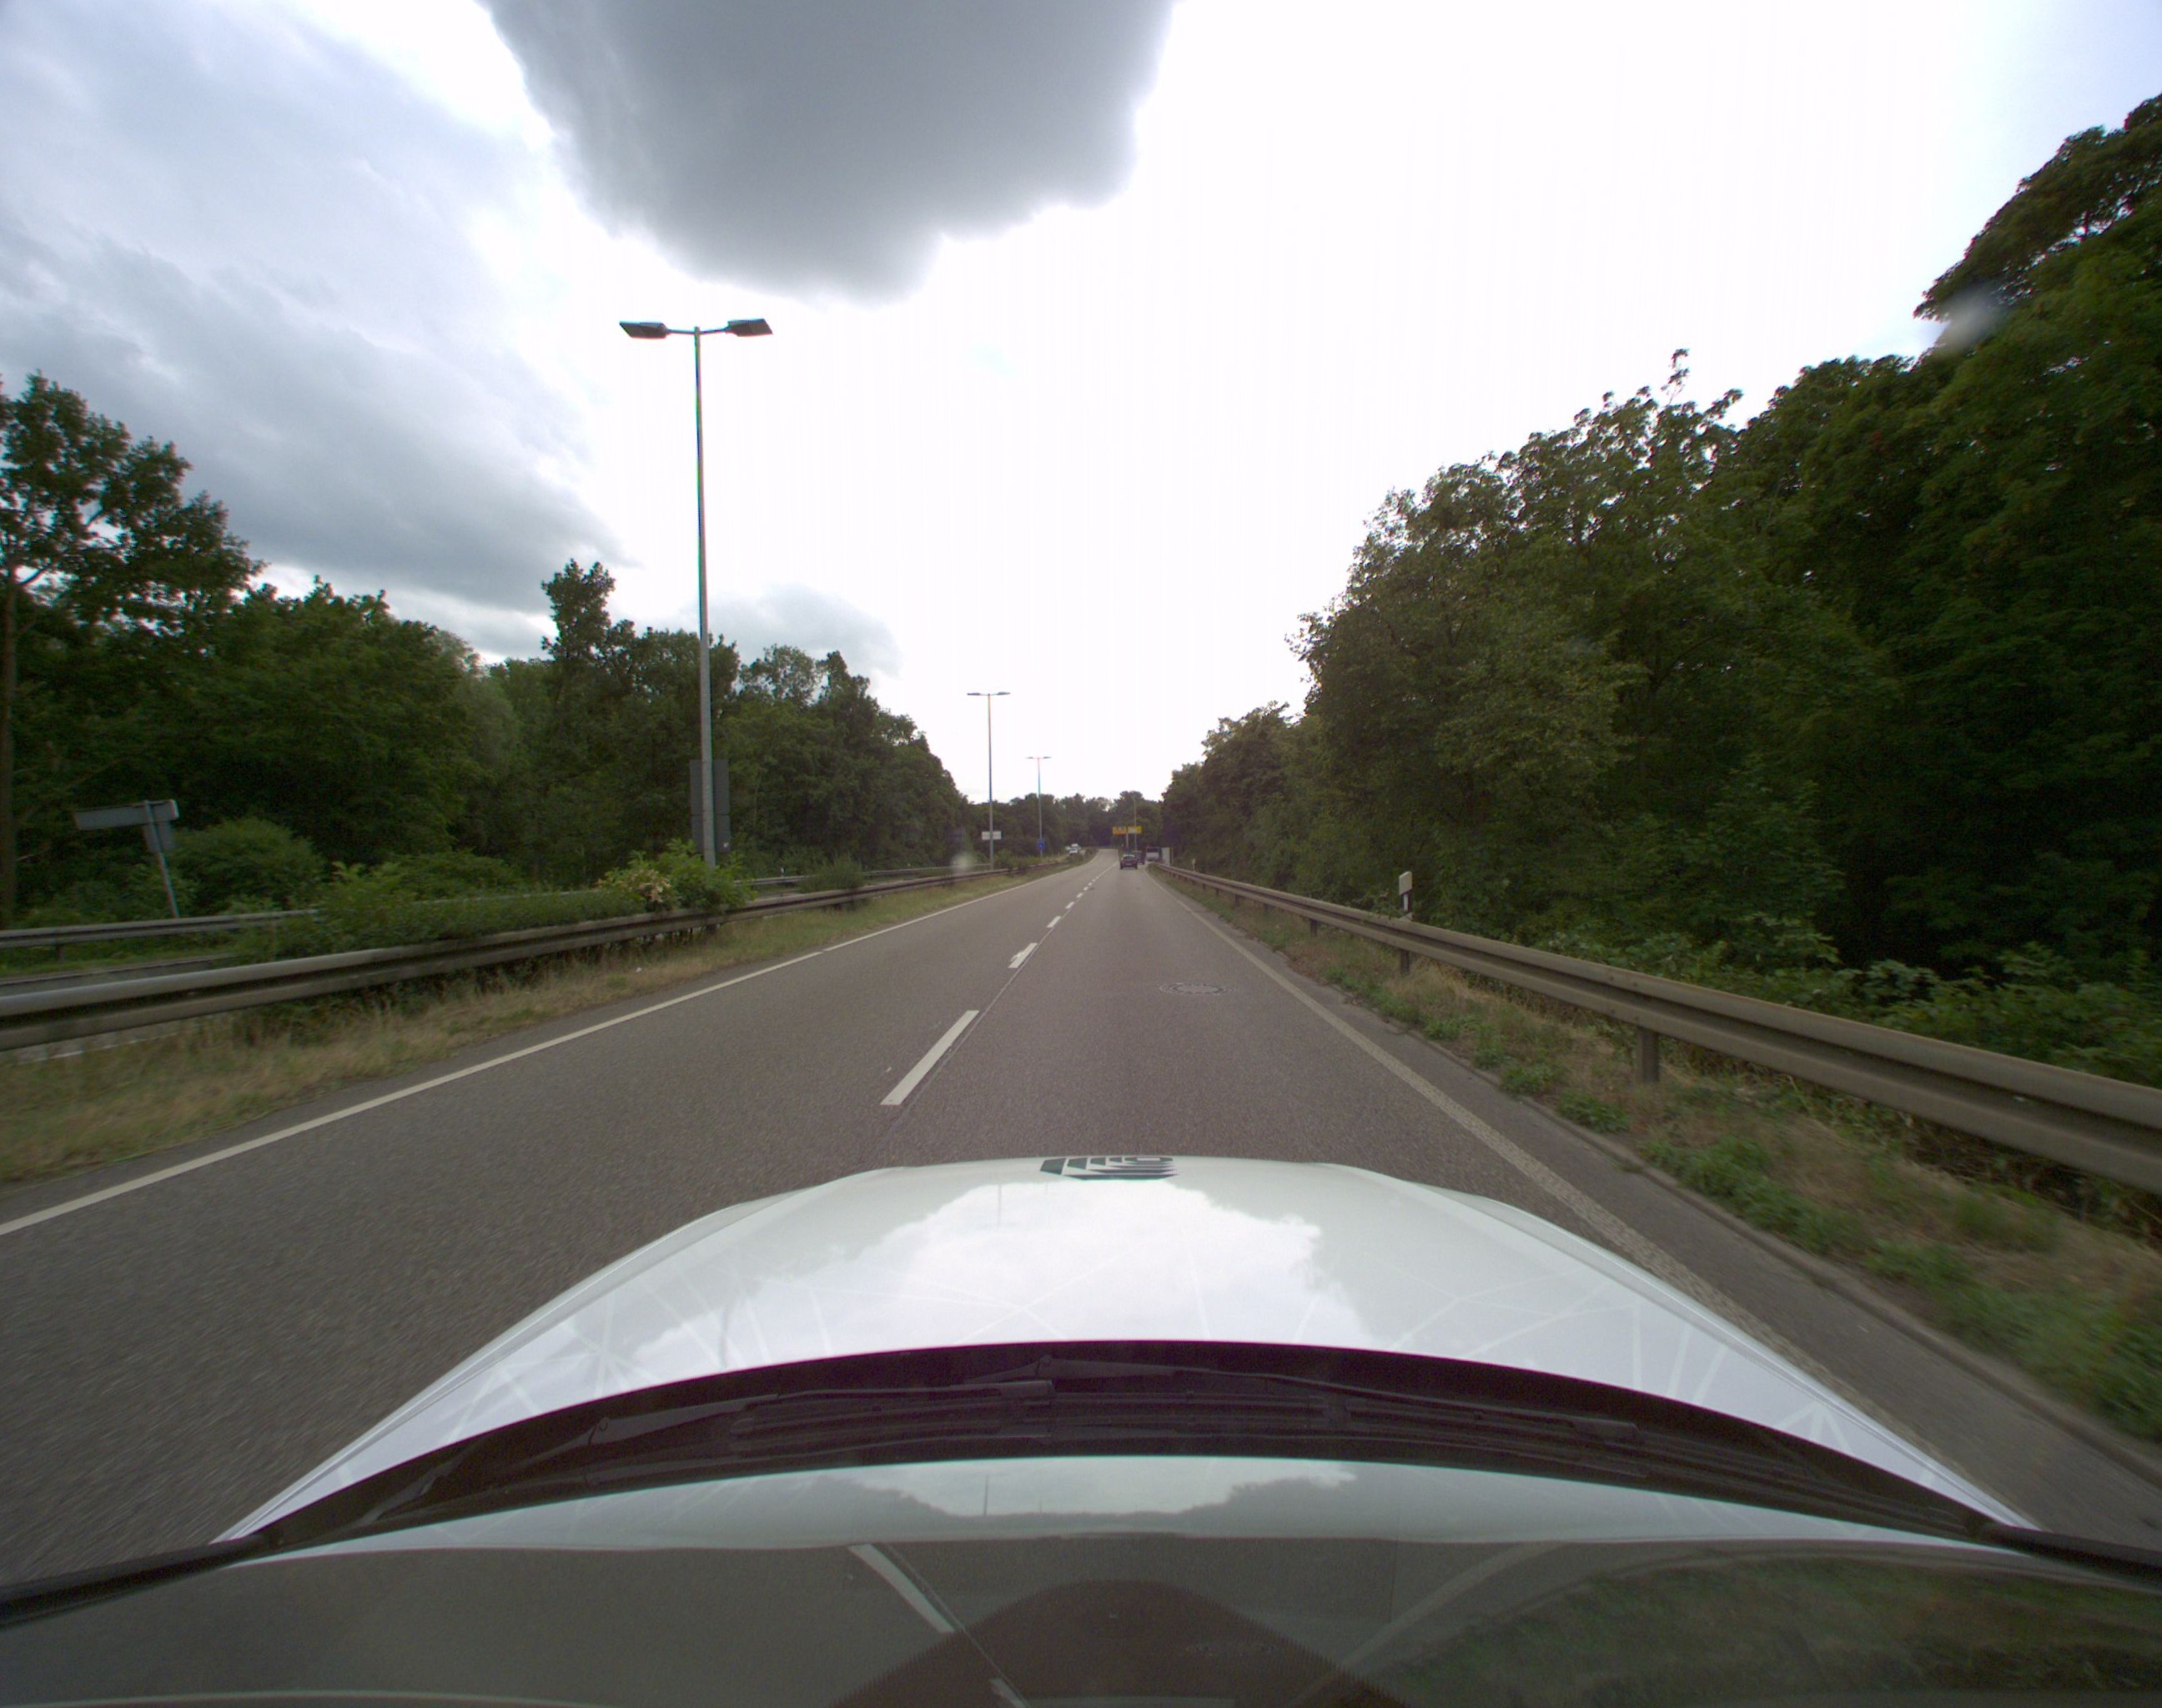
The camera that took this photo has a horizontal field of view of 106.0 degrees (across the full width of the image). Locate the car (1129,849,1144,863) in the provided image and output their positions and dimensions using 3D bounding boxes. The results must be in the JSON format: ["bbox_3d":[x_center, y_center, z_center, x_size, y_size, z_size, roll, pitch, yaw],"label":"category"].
[{"bbox_3d":[8.359,0.275,122.597,2.138,2.014,4.004,-1,-1,4],"label":"car"}]

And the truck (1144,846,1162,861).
[{"bbox_3d":[14.227,-0.067,160.323,2.962,2.885,8.012,-1,-1,10],"label":"truck"}]

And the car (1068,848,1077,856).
[{"bbox_3d":[-2.082,-0.490,207.109,1.985,1.847,4.005,-1,1,4],"label":"car"}]

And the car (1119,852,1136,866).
[{"bbox_3d":[4.871,0.564,84.901,1.618,1.377,4.004,-1,-1,4],"label":"car"}]
